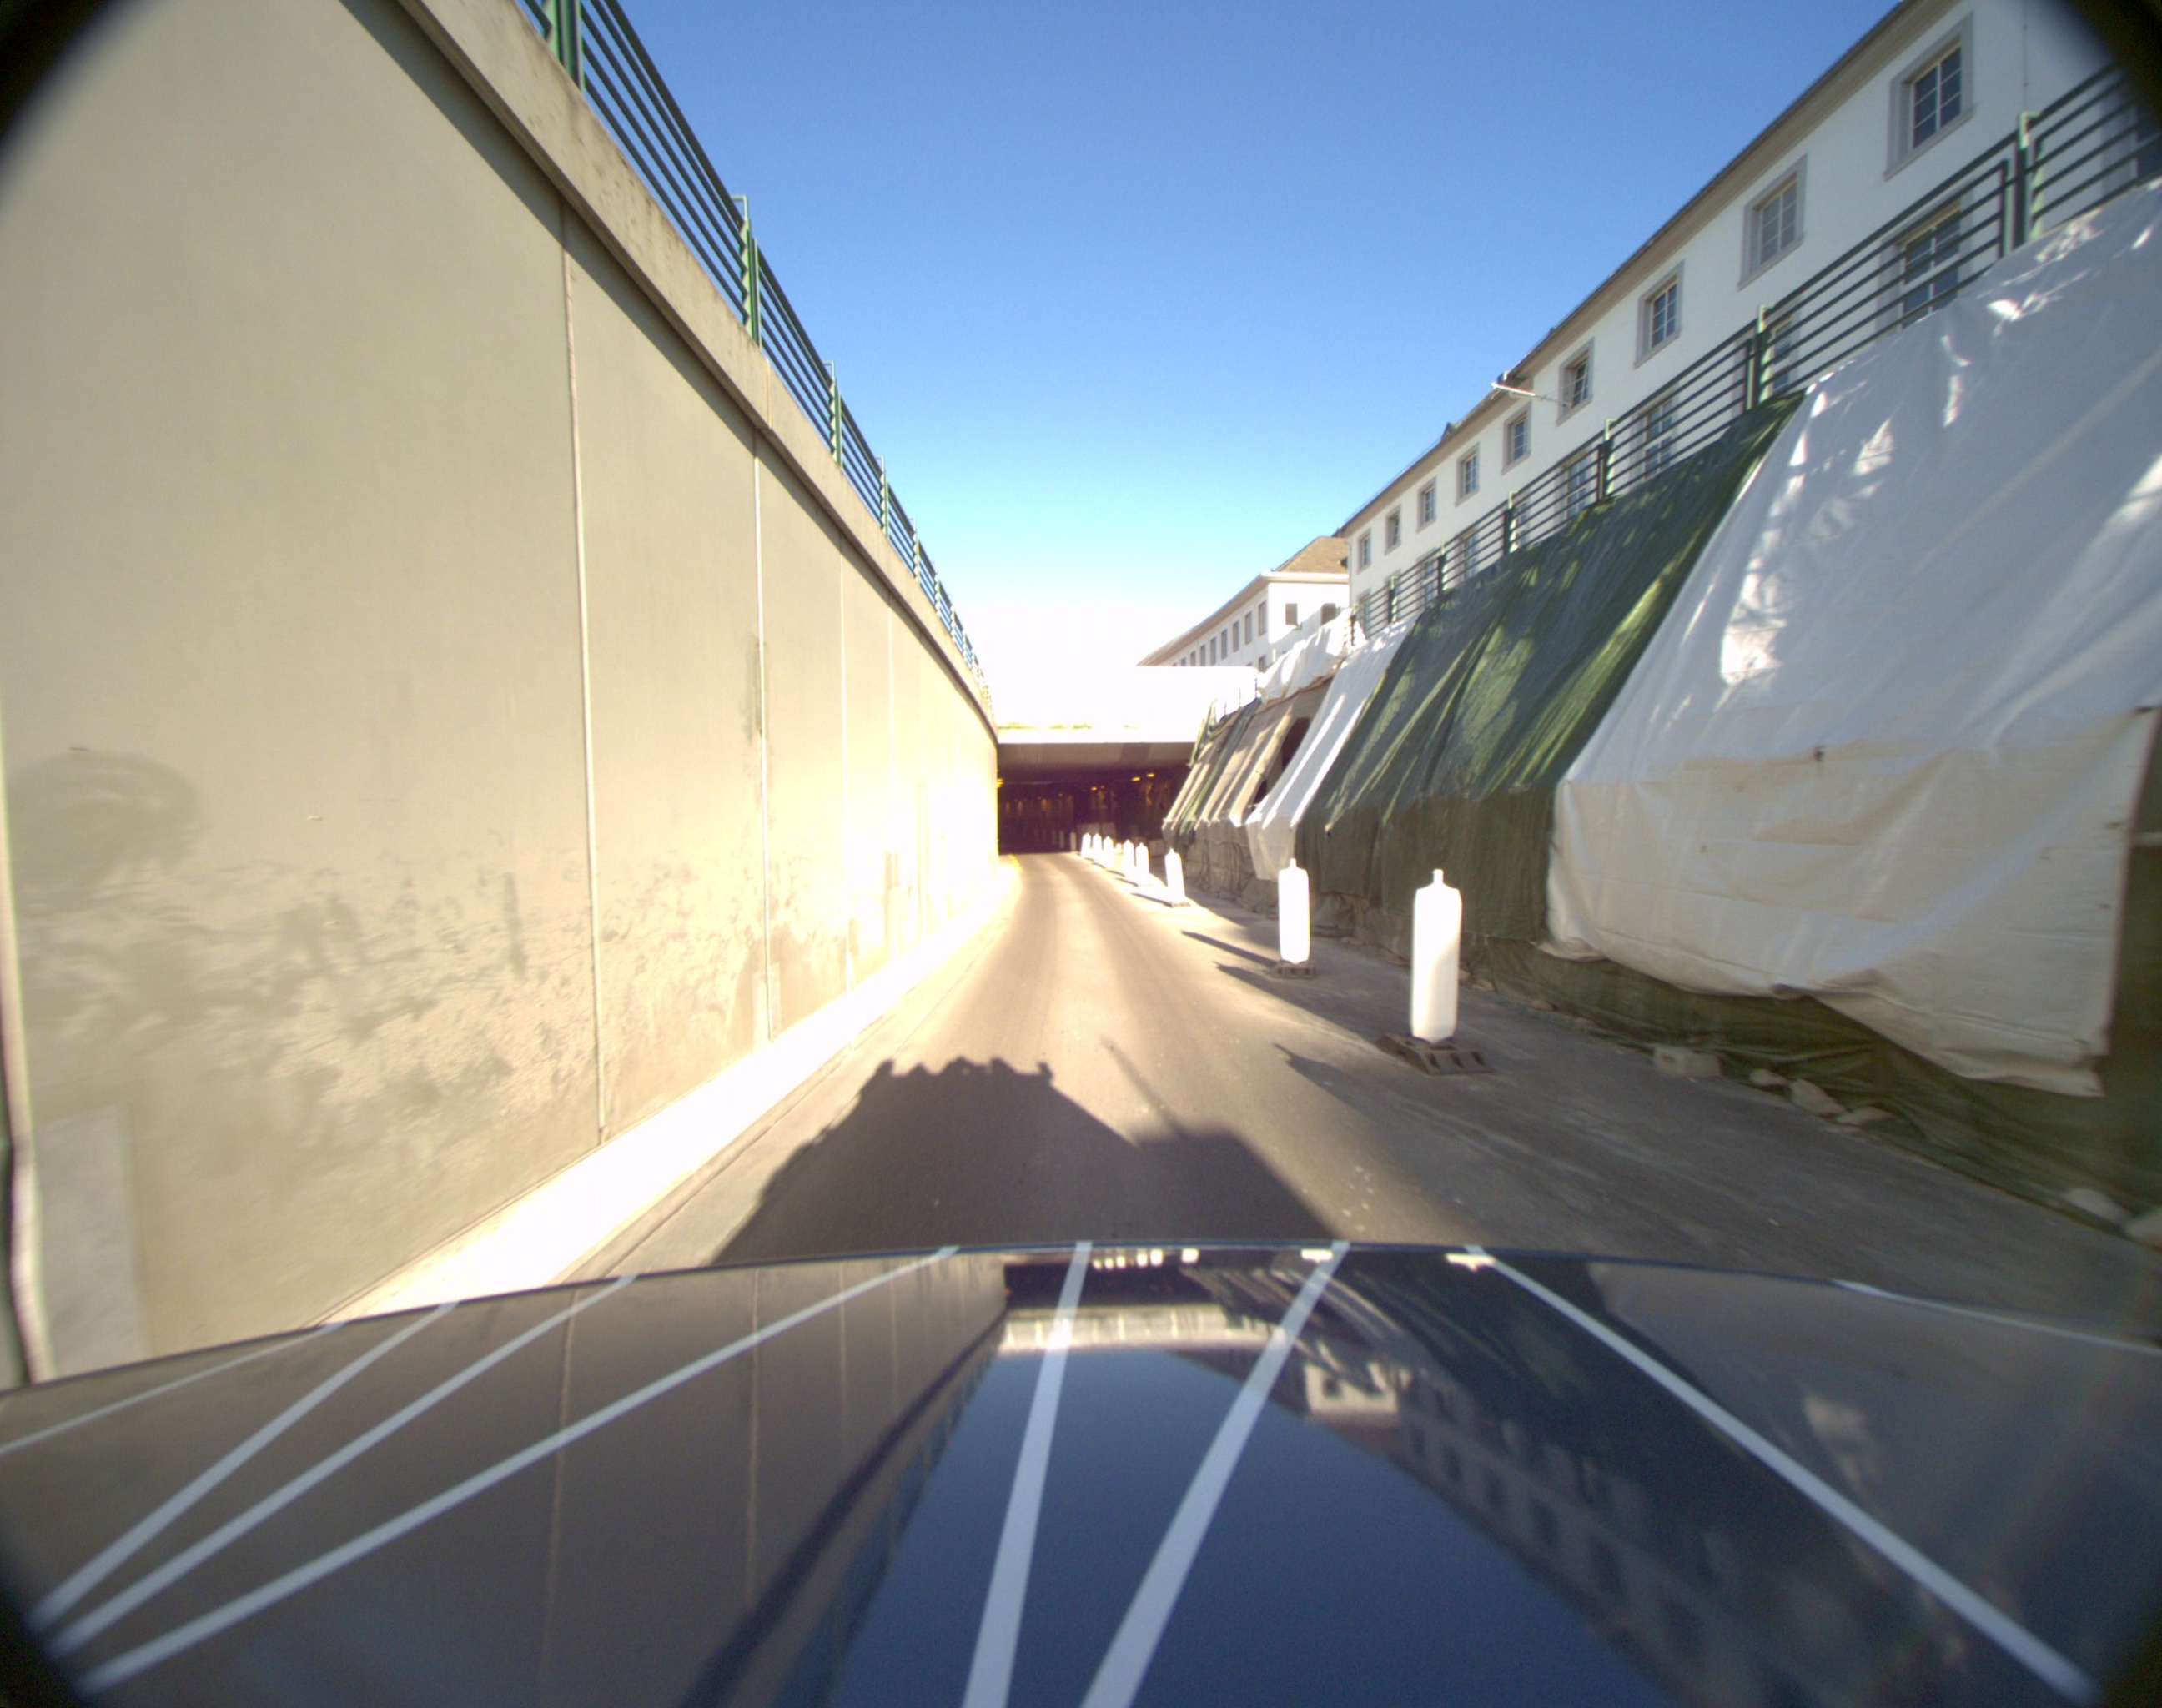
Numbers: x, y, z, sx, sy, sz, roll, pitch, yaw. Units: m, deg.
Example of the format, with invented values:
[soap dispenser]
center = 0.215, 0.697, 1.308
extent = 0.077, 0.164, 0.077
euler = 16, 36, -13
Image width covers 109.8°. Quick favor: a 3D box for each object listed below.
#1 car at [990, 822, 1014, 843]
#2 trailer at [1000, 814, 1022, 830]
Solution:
[car]
center = -6.851, -1.878, 65.608
extent = 1.897, 1.538, 4.235
euler = -2, 4, -6
[trailer]
center = -9.613, -4.382, 104.151
extent = 2.217, 2.003, 3.458
euler = -3, 5, -19
